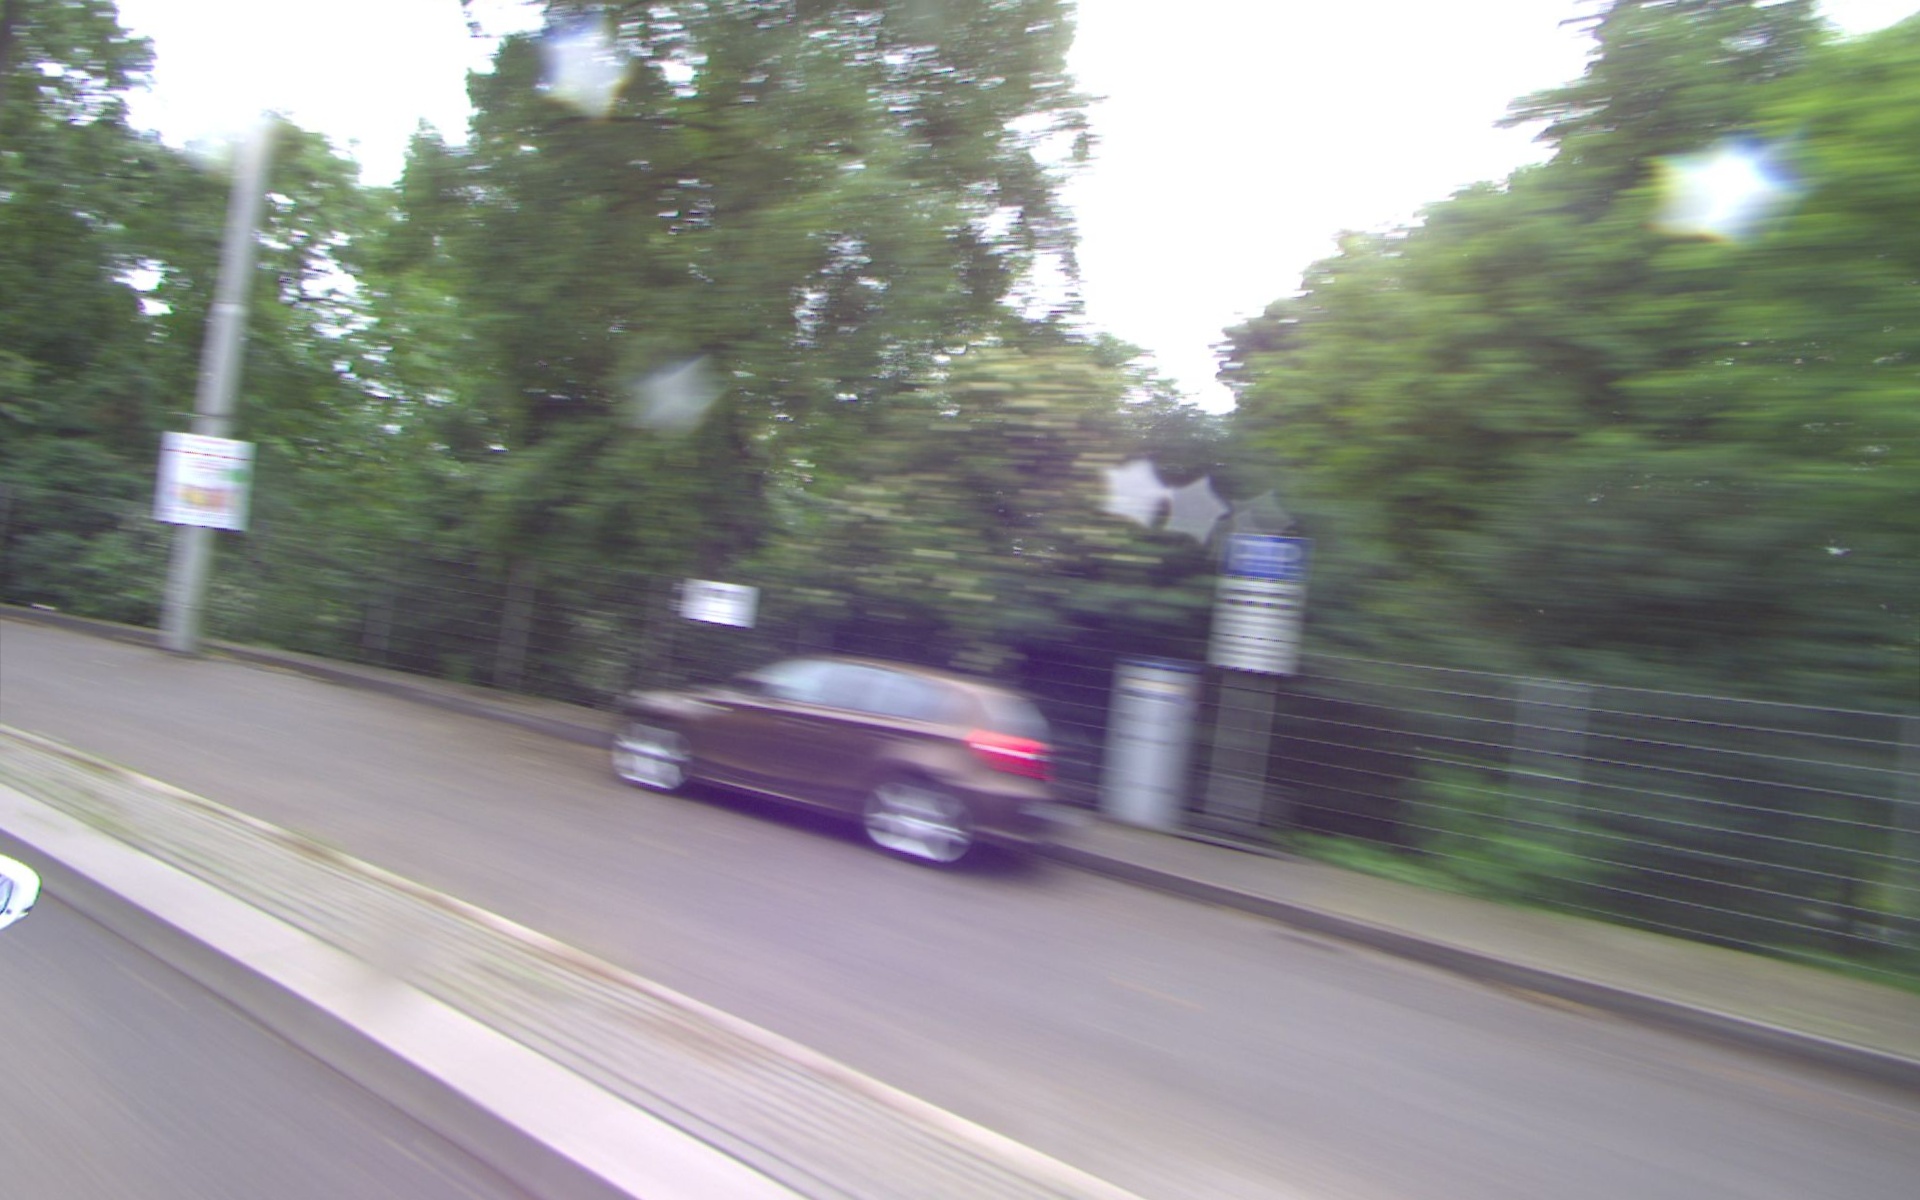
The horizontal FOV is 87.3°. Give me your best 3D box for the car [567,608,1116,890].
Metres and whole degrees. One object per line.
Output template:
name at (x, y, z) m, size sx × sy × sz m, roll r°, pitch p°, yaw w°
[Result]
car at (-1.069, 1.148, 8.612) m, size 4.294 × 1.440 × 1.695 m, roll 7°, pitch -5°, yaw 27°
